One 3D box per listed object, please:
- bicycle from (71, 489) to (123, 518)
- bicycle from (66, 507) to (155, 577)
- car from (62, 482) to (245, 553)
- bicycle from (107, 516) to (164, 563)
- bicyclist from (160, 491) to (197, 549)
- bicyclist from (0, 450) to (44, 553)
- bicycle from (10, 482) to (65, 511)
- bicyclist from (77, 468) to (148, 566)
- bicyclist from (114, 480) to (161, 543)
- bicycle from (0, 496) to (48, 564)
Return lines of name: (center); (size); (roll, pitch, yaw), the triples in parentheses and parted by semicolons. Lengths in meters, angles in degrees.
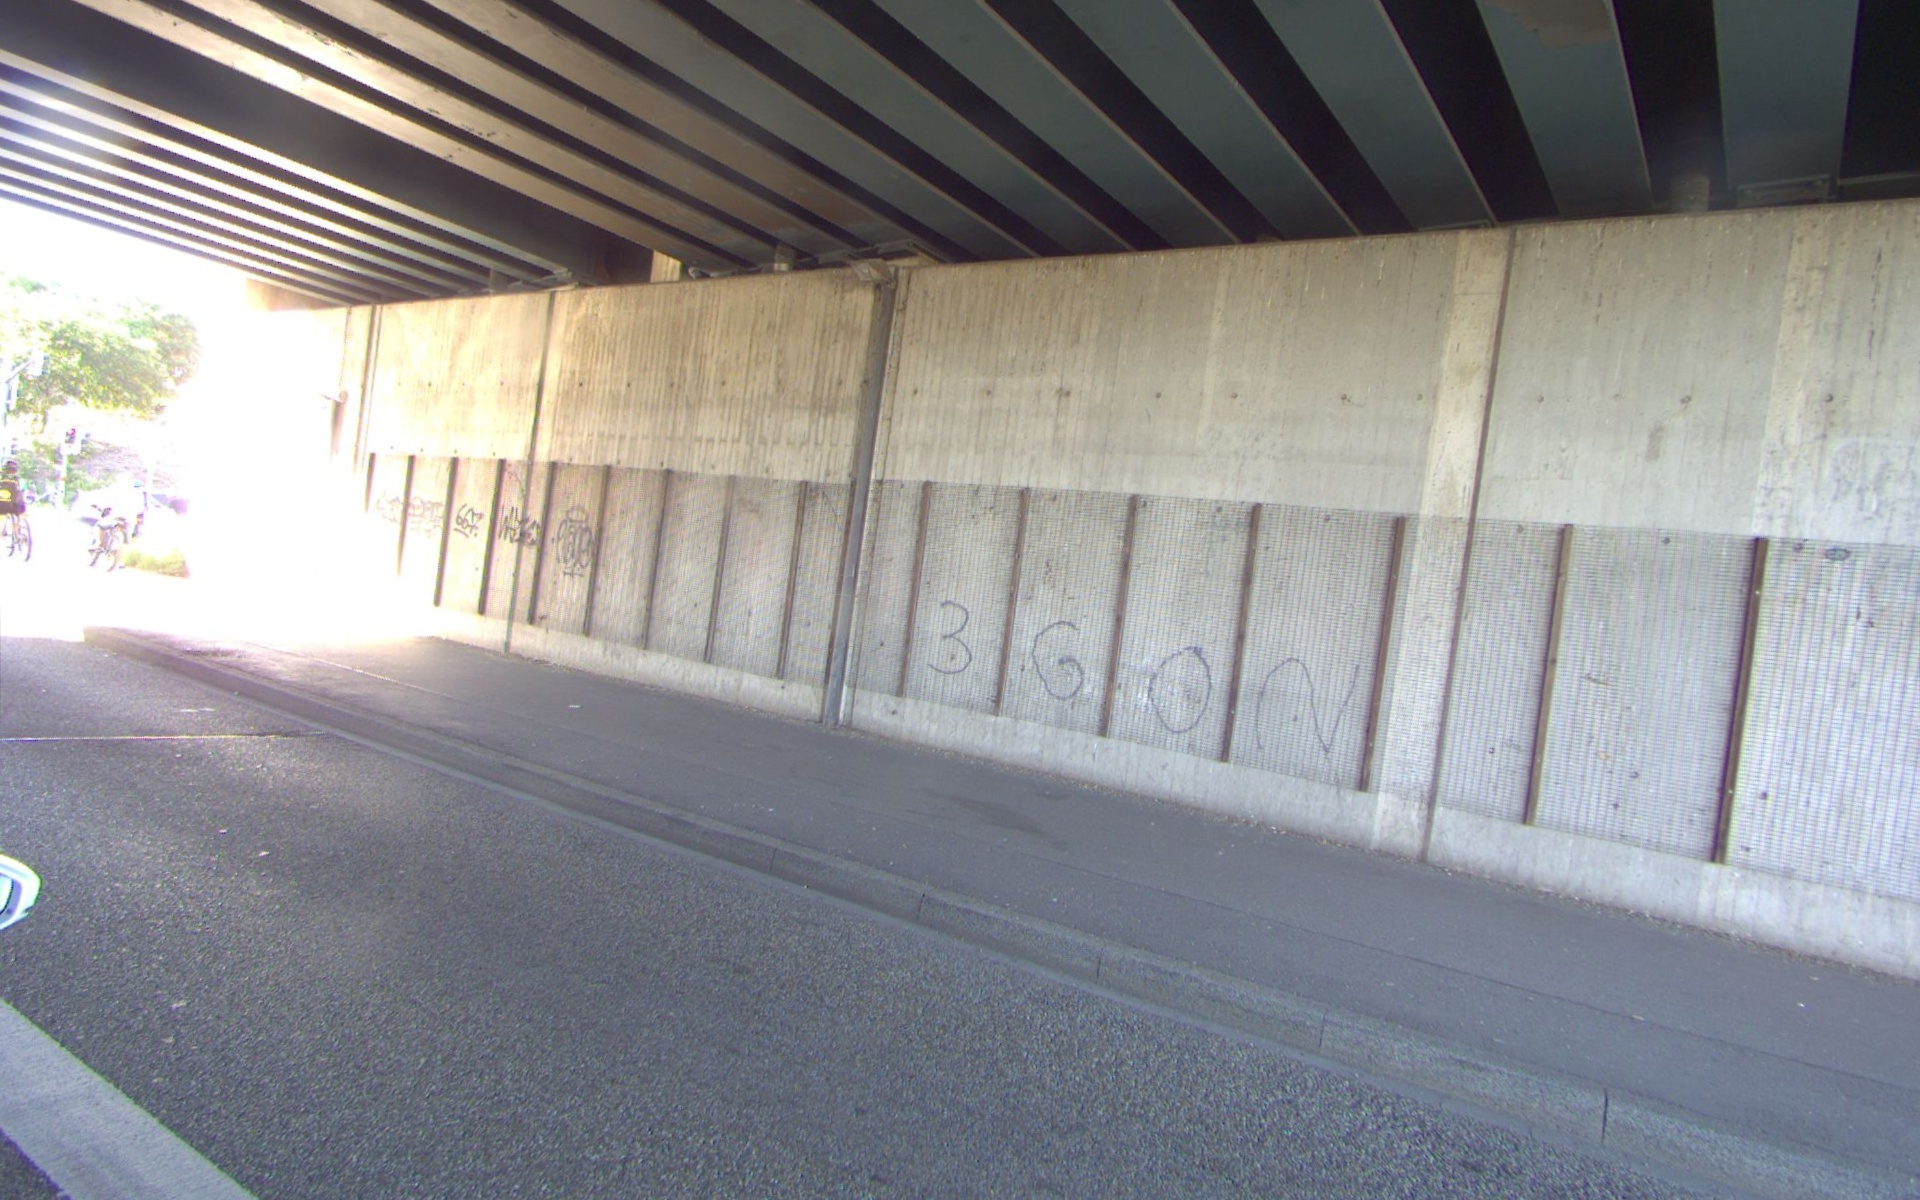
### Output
bicycle: (-41.076, -4.591, 47.899); (0.586, 1.035, 1.743); (6, -2, 43)
bicycle: (-14.731, -1.012, 17.431); (1.721, 1.035, 0.593); (6, -1, 32)
car: (-26.168, -2.638, 32.817); (1.852, 1.561, 4.195); (7, -1, 20)
bicycle: (-21.334, -1.566, 26.022); (2.026, 1.035, 0.671); (6, -2, 40)
bicyclist: (-21.636, -2.219, 27.840); (0.647, 1.499, 0.611); (8, 0, -40)
bicyclist: (-16.157, -1.678, 17.021); (0.927, 1.632, 0.593); (6, -1, 32)
bicycle: (-42.888, -4.794, 46.783); (0.585, 1.035, 1.744); (6, -2, 40)
bicyclist: (-14.678, -1.432, 17.423); (0.756, 1.566, 0.593); (6, -1, 32)
bicyclist: (-21.320, -2.289, 26.081); (0.740, 1.491, 0.665); (6, -1, 38)
bicycle: (-16.209, -1.223, 17.032); (1.721, 1.035, 0.593); (6, -1, 32)
